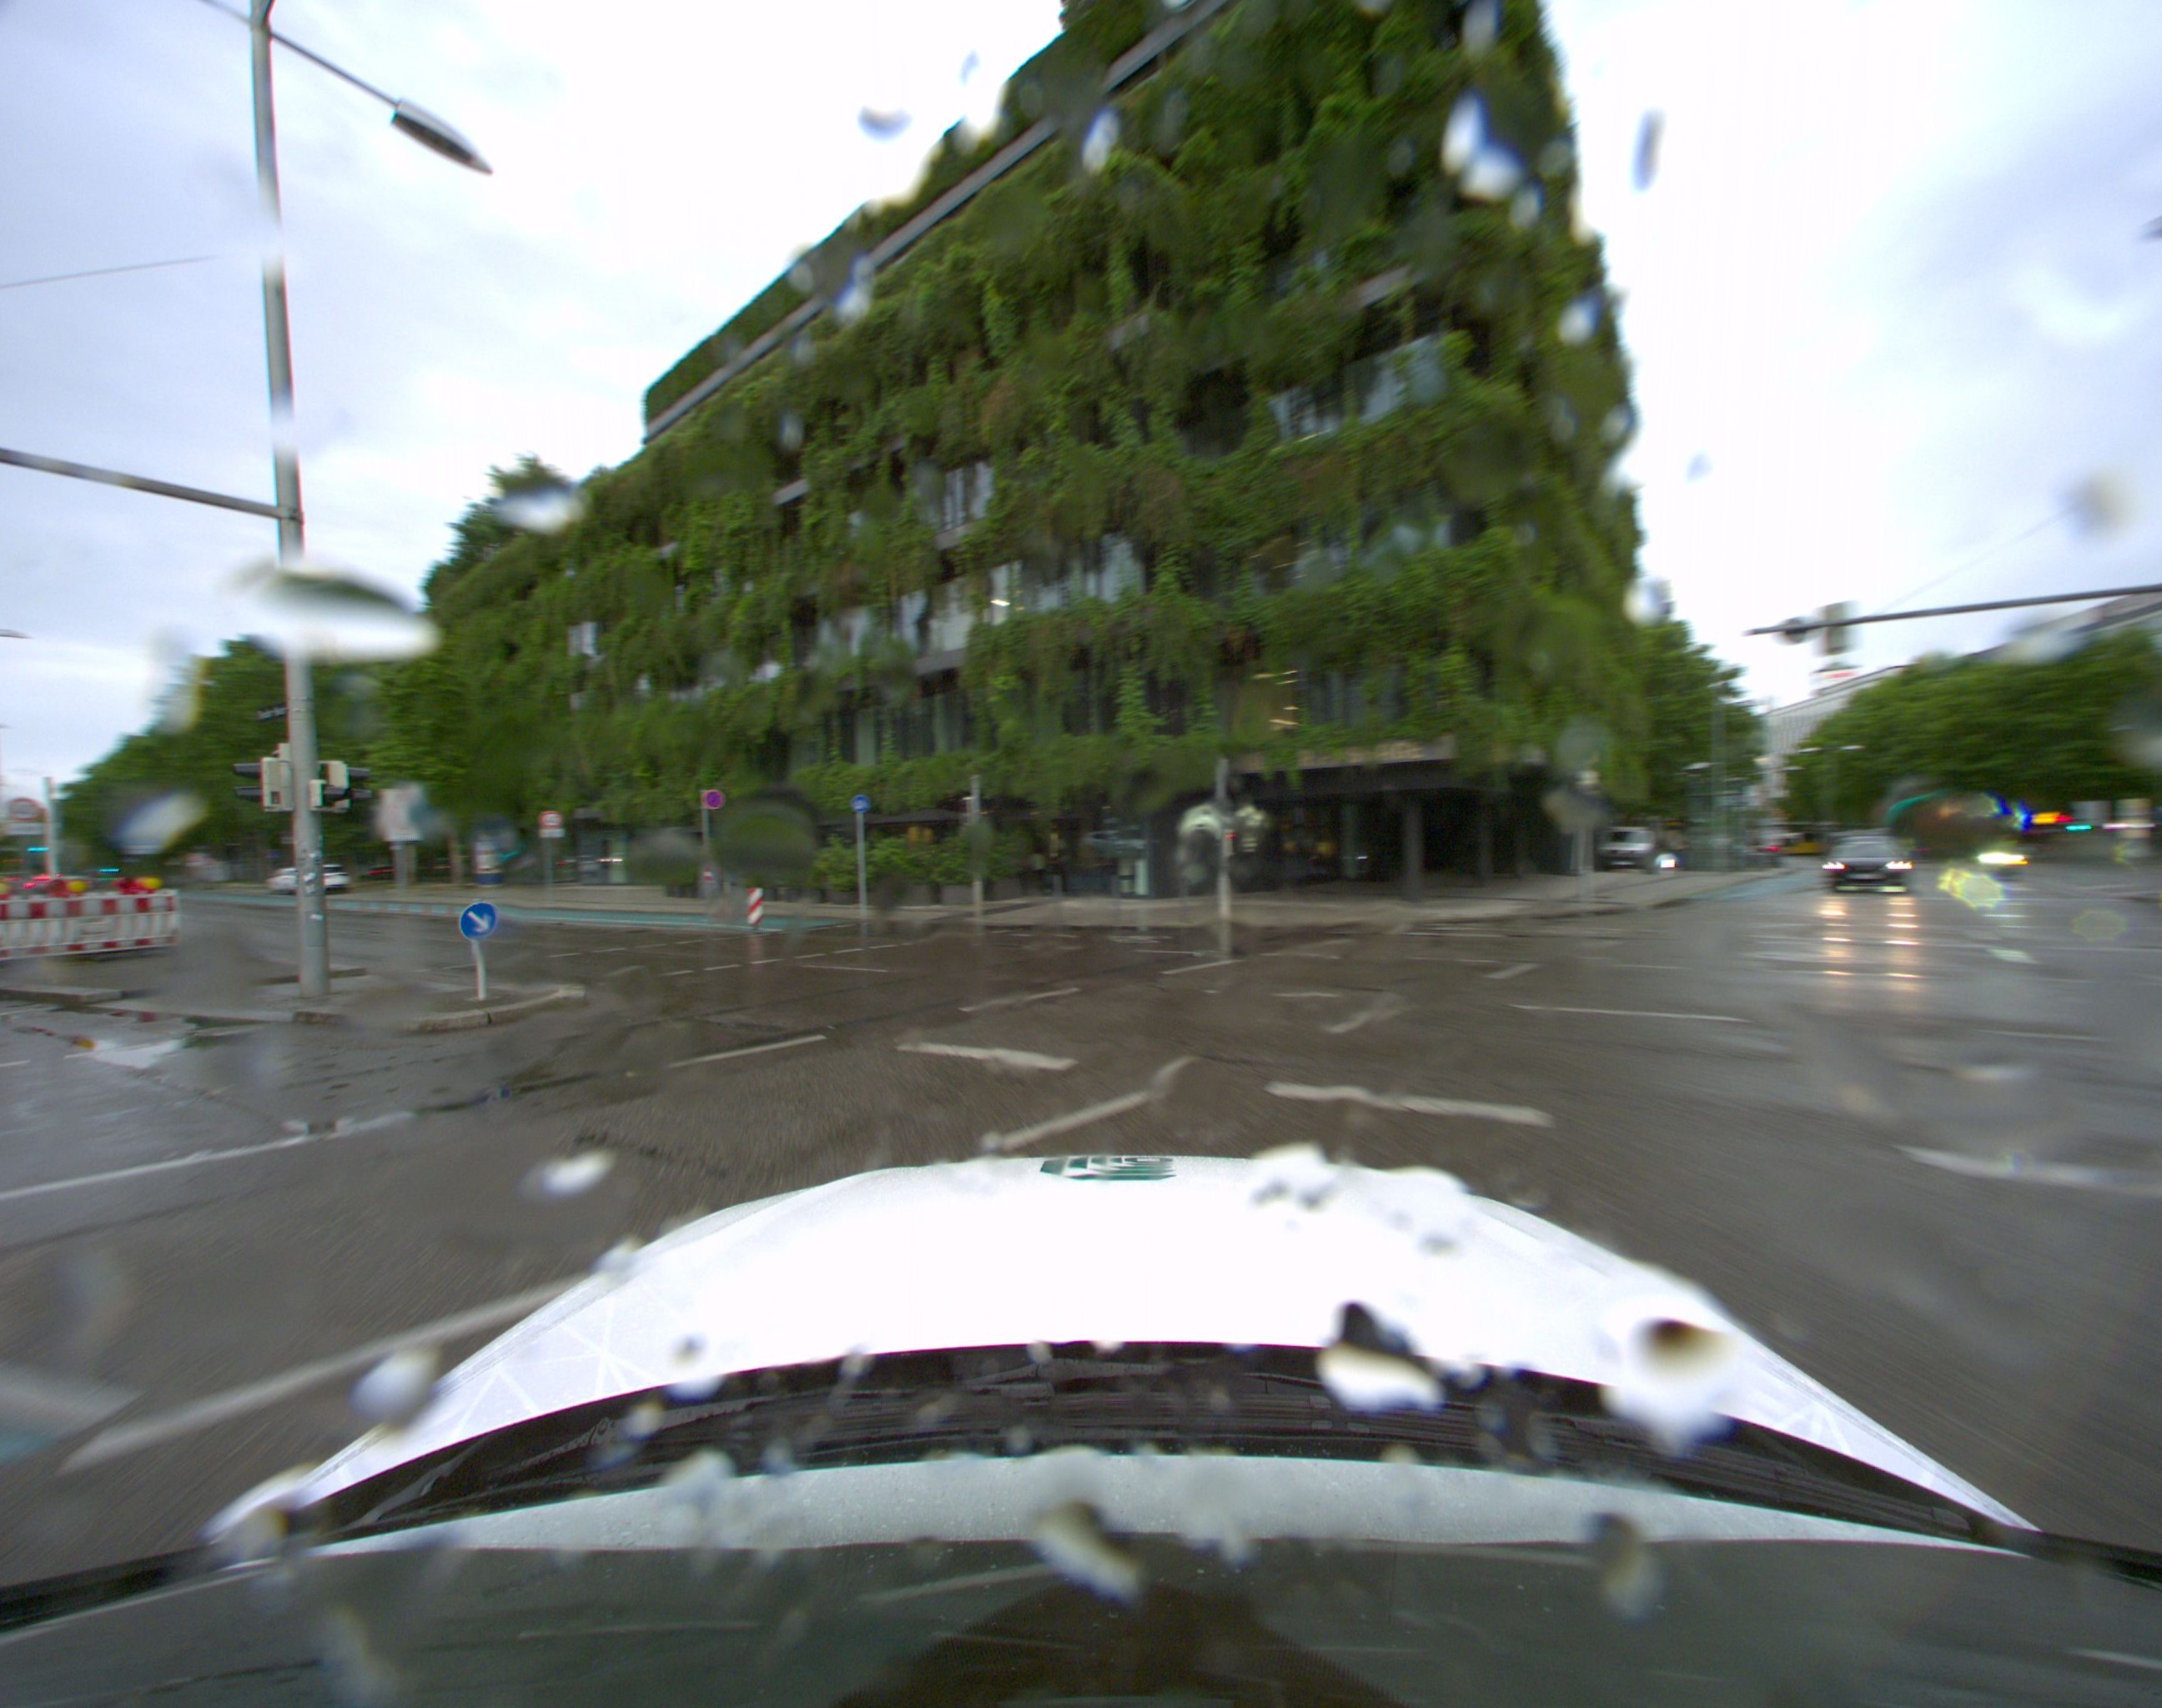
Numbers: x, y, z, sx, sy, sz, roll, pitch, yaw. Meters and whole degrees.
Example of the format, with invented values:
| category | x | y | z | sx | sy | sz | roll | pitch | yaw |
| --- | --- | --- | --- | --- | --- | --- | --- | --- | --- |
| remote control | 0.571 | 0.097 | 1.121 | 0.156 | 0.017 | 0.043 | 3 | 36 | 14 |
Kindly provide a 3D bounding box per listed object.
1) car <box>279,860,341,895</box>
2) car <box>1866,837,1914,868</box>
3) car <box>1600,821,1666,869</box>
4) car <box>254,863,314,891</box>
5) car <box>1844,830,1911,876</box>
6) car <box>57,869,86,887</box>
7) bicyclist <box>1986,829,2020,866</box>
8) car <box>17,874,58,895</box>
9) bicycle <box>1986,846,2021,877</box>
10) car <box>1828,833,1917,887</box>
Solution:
| category | x | y | z | sx | sy | sz | roll | pitch | yaw |
| --- | --- | --- | --- | --- | --- | --- | --- | --- | --- |
| car | -45.285 | 1.355 | 47.792 | 5.028 | 1.837 | 1.862 | -1 | 3 | 38 |
| car | 45.357 | -0.104 | 45.641 | 4.523 | 1.636 | 1.805 | 0 | -1 | -44 |
| car | 24.350 | -0.418 | 35.838 | 2.092 | 1.955 | 4.901 | -1 | 0 | 37 |
| car | -50.293 | 1.441 | 51.366 | 4.724 | 1.632 | 1.861 | -1 | 1 | 36 |
| car | 32.862 | -0.053 | 33.553 | 4.803 | 1.758 | 1.805 | 0 | -1 | -44 |
| car | -104.242 | 2.476 | 84.106 | 3.948 | 1.666 | 1.636 | -1 | 2 | 36 |
| bicyclist | 34.522 | -0.245 | 30.511 | 0.747 | 1.336 | 0.786 | -1 | -1 | -43 |
| car | -78.300 | 2.300 | 61.123 | 3.948 | 1.471 | 1.636 | -1 | 1 | 35 |
| bicycle | 34.563 | 0.263 | 30.529 | 2.102 | 1.136 | 0.799 | -1 | -1 | -42 |
| car | 24.214 | 0.161 | 24.861 | 4.227 | 1.499 | 1.805 | 0 | -1 | -44 |
